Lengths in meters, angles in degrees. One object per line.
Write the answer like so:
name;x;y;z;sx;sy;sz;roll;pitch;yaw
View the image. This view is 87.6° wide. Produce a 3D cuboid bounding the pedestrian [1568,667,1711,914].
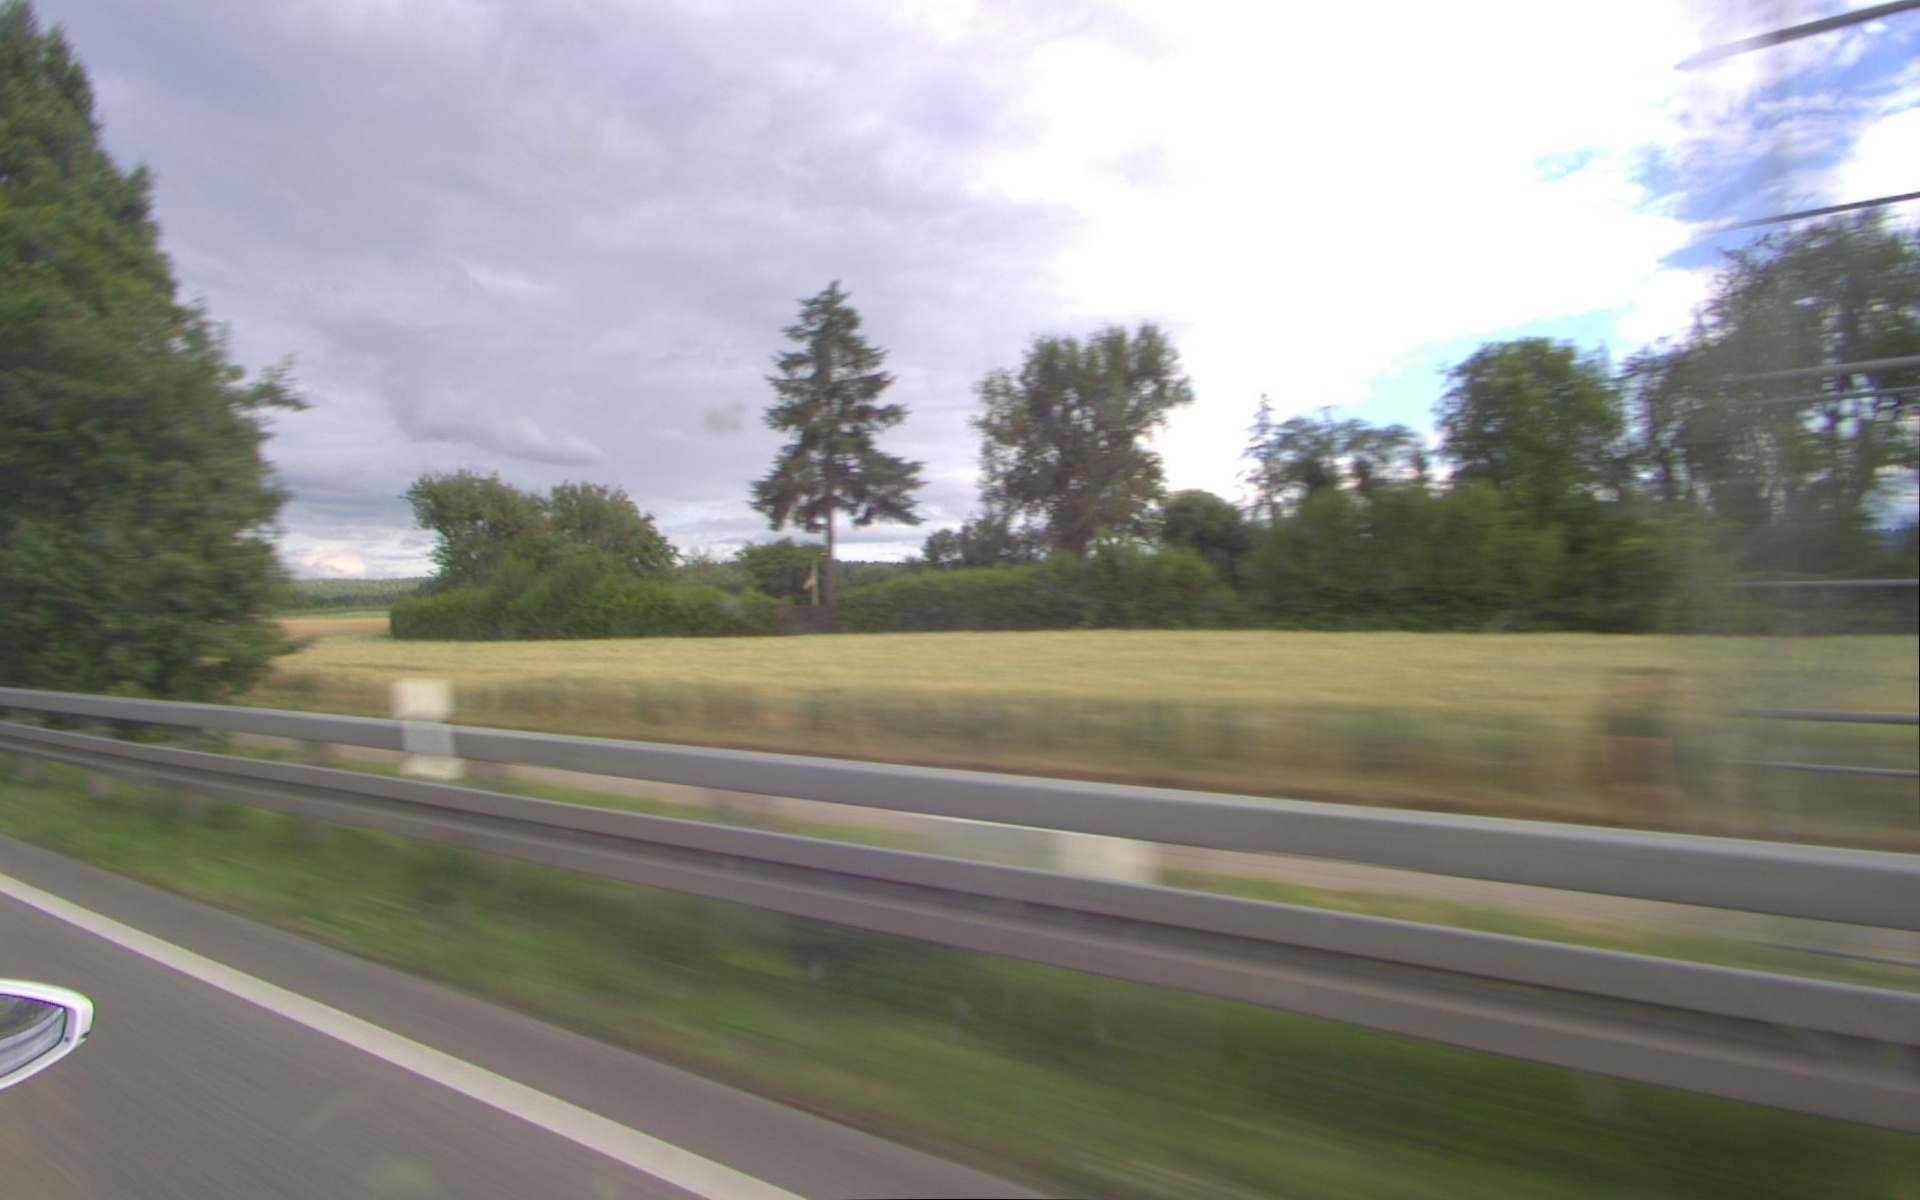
pedestrian;5.641;1.520;8.376;0.926;1.891;0.770;-1;-2;32
